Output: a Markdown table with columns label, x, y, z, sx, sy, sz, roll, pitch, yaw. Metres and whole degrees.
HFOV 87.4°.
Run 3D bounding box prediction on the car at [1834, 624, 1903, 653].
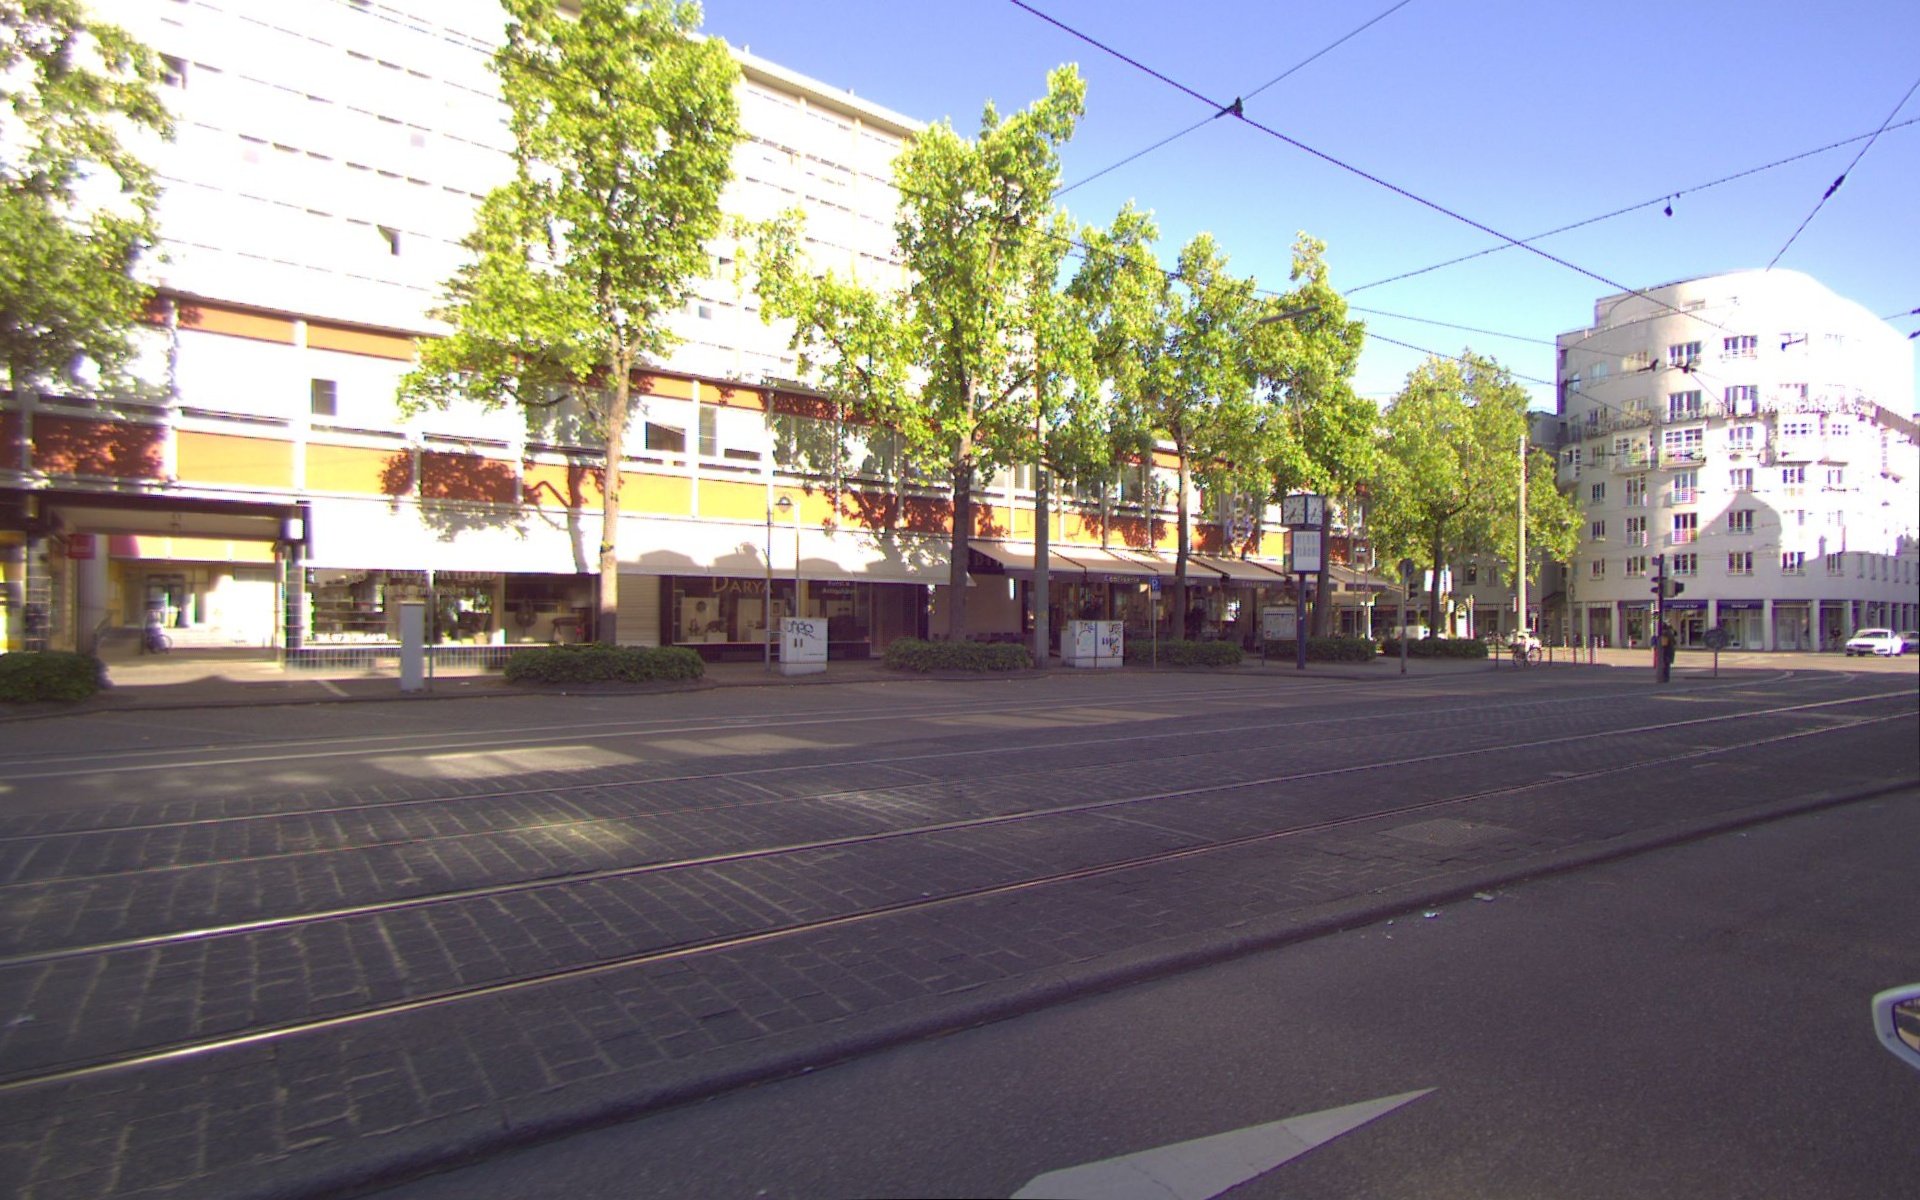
| label | x | y | z | sx | sy | sz | roll | pitch | yaw |
| --- | --- | --- | --- | --- | --- | --- | --- | --- | --- |
| car | 48.301 | 2.000 | 53.368 | 4.461 | 1.471 | 1.979 | 1 | -1 | -38 |

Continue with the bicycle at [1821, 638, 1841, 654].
| label | x | y | z | sx | sy | sz | roll | pitch | yaw |
| --- | --- | --- | --- | --- | --- | --- | --- | --- | --- |
| bicycle | 55.306 | 2.902 | 63.783 | 1.800 | 0.985 | 0.590 | 2 | -2 | -36 |

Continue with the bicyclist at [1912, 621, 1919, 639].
| label | x | y | z | sx | sy | sz | roll | pitch | yaw |
| --- | --- | --- | --- | --- | --- | --- | --- | --- | --- |
| bicyclist | 68.995 | 2.153 | 72.276 | 0.984 | 1.302 | 0.584 | 2 | -2 | -39 |

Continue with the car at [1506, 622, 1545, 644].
| label | x | y | z | sx | sy | sz | roll | pitch | yaw |
| --- | --- | --- | --- | --- | --- | --- | --- | --- | --- |
| car | 41.454 | 2.398 | 73.619 | 1.777 | 1.422 | 4.082 | 0 | 0 | 40 |

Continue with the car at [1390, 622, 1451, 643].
| label | x | y | z | sx | sy | sz | roll | pitch | yaw |
| --- | --- | --- | --- | --- | --- | --- | --- | --- | --- |
| car | 35.355 | 2.462 | 77.249 | 1.783 | 1.422 | 3.973 | -1 | 0 | -32 |

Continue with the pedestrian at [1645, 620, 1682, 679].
| label | x | y | z | sx | sy | sz | roll | pitch | yaw |
| --- | --- | --- | --- | --- | --- | --- | --- | --- | --- |
| pedestrian | 18.616 | 1.301 | 26.578 | 0.851 | 1.537 | 0.496 | 1 | -3 | -36 |

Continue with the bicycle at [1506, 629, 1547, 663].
| label | x | y | z | sx | sy | sz | roll | pitch | yaw |
| --- | --- | --- | --- | --- | --- | --- | --- | --- | --- |
| bicycle | 20.624 | 1.645 | 36.543 | 2.215 | 1.202 | 0.493 | 1 | -1 | -38 |

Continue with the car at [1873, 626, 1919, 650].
| label | x | y | z | sx | sy | sz | roll | pitch | yaw |
| --- | --- | --- | --- | --- | --- | --- | --- | --- | --- |
| car | 61.634 | 2.480 | 65.797 | 4.608 | 1.471 | 1.979 | 1 | -1 | -38 |

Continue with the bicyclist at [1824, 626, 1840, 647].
| label | x | y | z | sx | sy | sz | roll | pitch | yaw |
| --- | --- | --- | --- | --- | --- | --- | --- | --- | --- |
| bicyclist | 55.407 | 2.338 | 63.820 | 0.918 | 1.302 | 0.584 | 2 | -2 | -35 |
